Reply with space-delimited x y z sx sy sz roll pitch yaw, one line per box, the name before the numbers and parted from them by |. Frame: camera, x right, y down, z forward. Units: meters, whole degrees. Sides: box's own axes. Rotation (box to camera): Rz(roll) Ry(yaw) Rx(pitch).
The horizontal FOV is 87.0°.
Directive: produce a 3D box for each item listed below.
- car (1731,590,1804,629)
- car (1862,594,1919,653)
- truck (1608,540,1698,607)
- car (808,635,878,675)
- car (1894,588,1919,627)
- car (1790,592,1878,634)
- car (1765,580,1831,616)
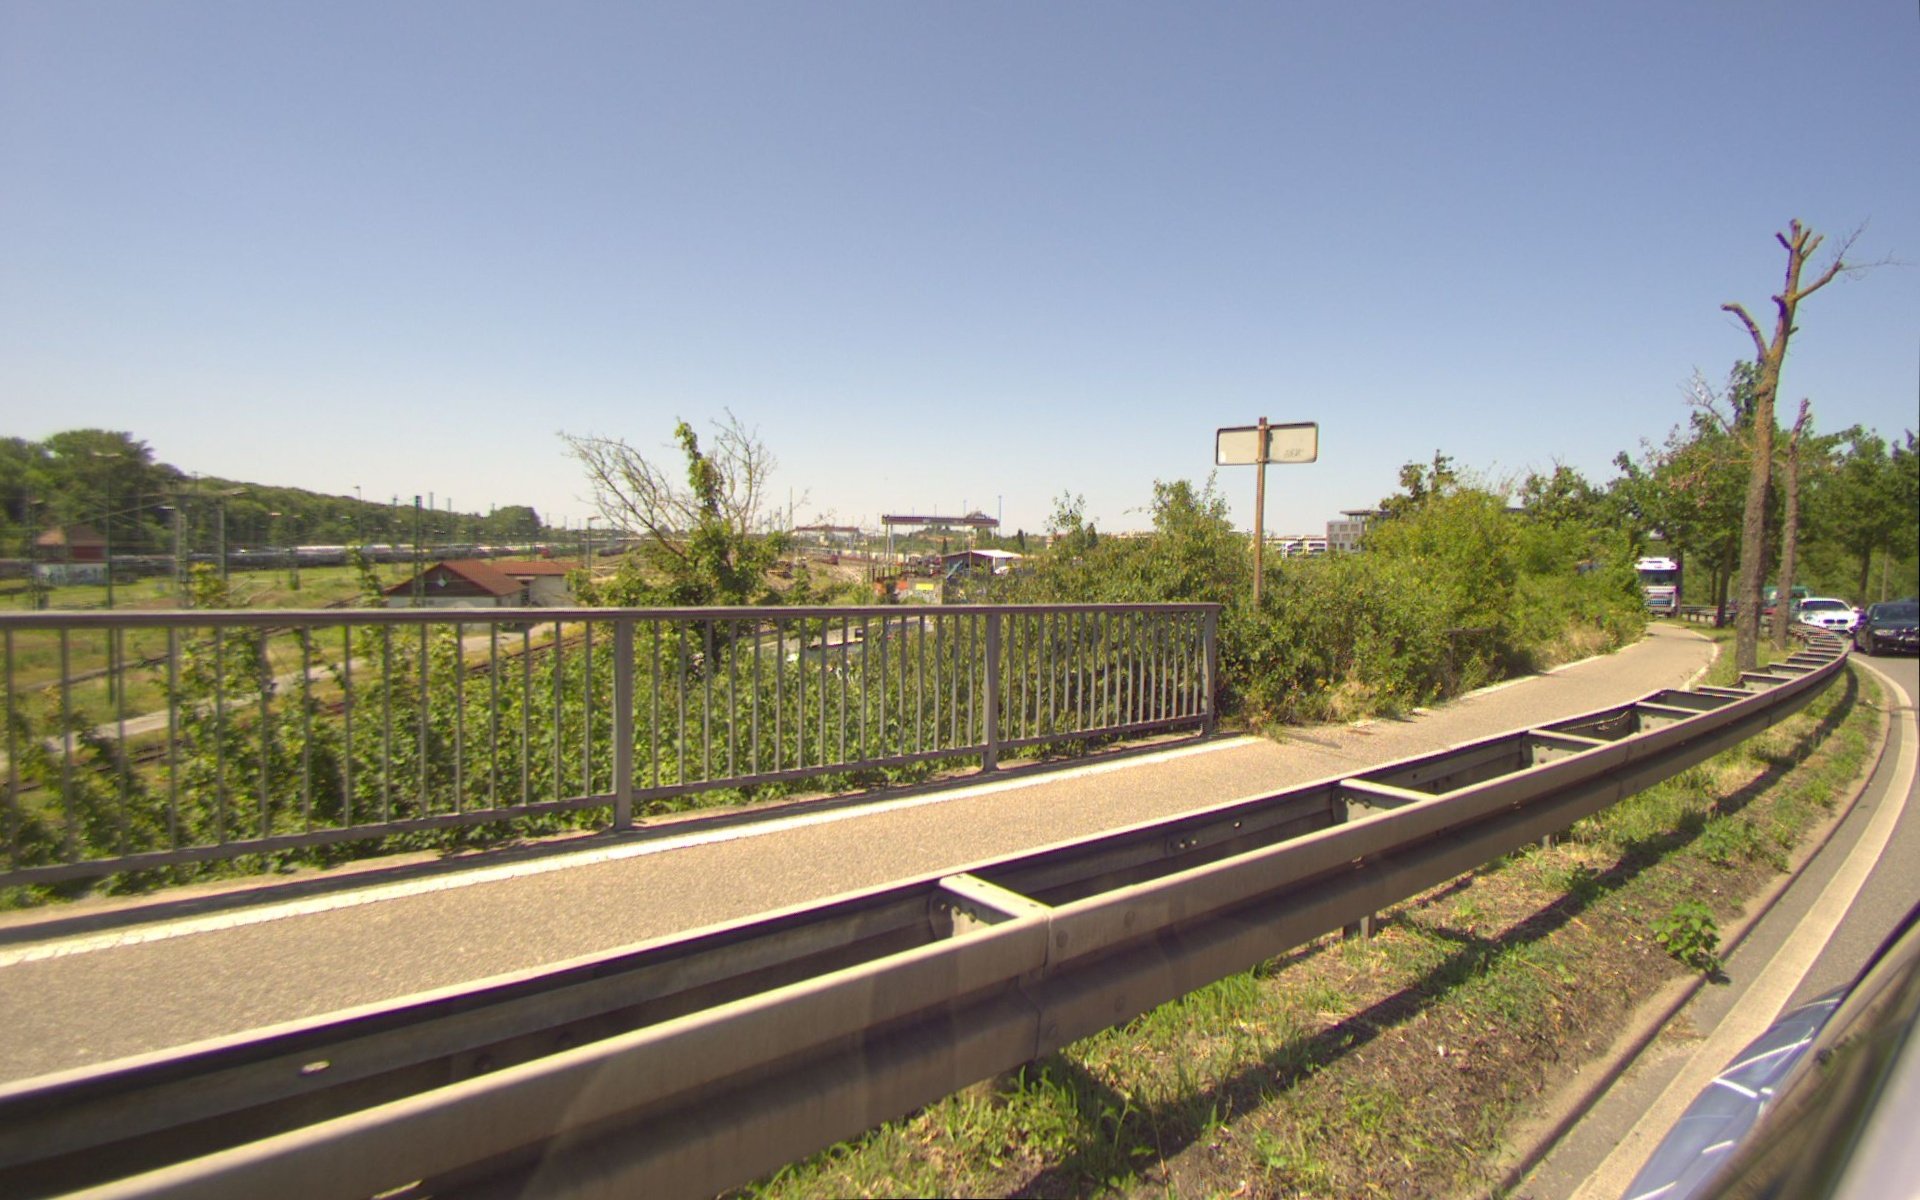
car | 39.589 0.429 49.728 1.883 1.675 4.221 1 2 26
car | 24.984 0.573 26.526 1.561 1.434 4.070 1 1 35
truck | 47.447 -1.769 69.597 2.823 4.322 8.760 0 1 19
car | -7.740 3.658 67.485 2.133 2.382 4.879 -4 -2 29
car | 38.391 0.291 39.578 1.838 1.486 4.687 0 1 32
car | 31.974 0.429 37.115 1.803 1.446 3.675 1 1 31
car | 46.900 -0.145 56.739 1.818 1.963 4.732 1 1 27
